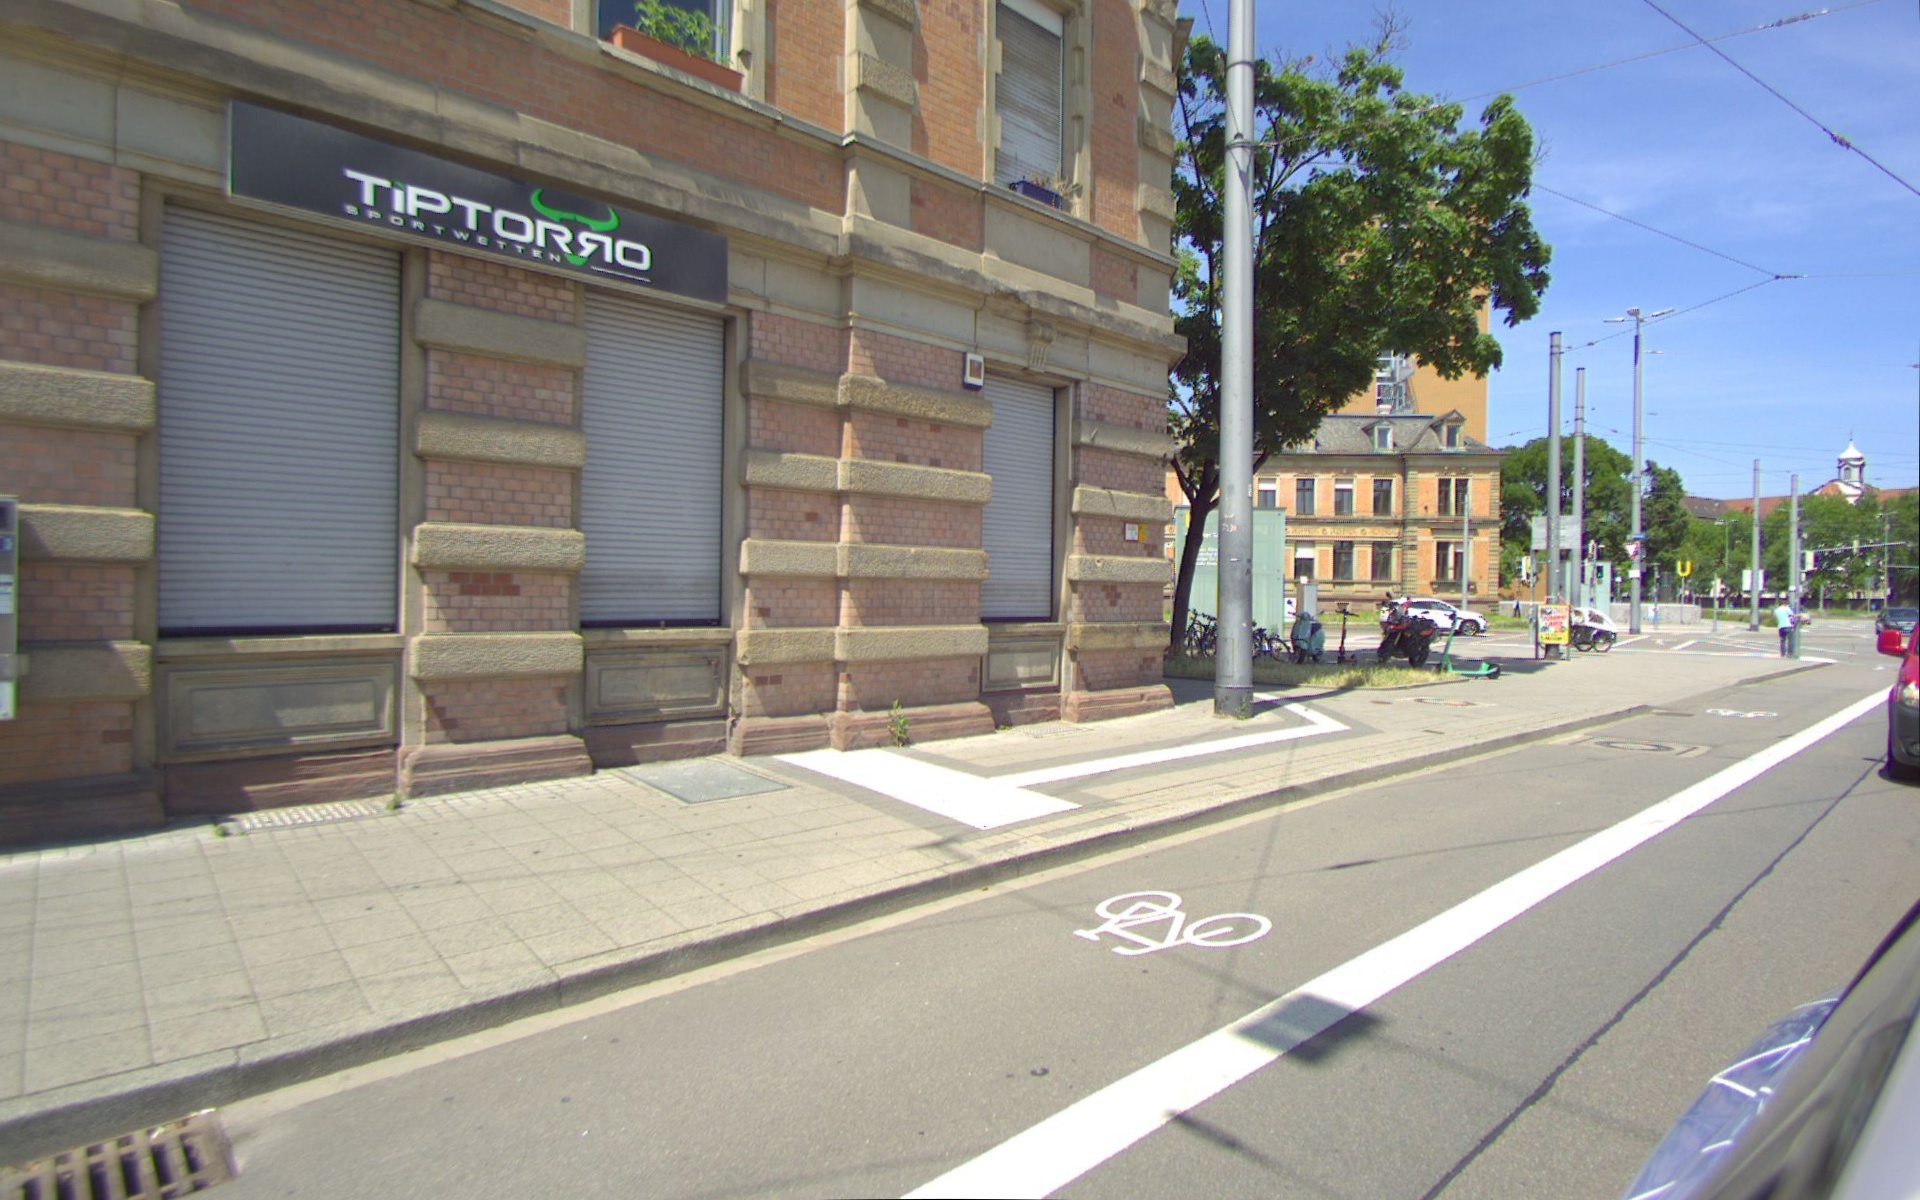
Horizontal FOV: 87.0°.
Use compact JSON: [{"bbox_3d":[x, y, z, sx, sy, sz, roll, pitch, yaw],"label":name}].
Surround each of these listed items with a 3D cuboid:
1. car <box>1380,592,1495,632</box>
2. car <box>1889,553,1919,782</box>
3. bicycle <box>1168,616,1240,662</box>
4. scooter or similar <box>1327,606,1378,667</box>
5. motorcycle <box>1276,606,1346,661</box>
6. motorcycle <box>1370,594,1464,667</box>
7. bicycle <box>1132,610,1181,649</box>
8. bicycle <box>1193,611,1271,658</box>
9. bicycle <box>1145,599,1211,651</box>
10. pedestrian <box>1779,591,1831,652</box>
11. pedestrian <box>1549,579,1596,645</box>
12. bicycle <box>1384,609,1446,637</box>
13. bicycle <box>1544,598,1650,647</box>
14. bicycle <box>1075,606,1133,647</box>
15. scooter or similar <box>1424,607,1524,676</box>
[{"bbox_3d":[20.455,0.501,43.509,4.109,1.625,1.703,1,0,10],"label":"car"},{"bbox_3d":[9.623,0.550,8.892,4.026,1.835,1.754,0,0,-42],"label":"car"},{"bbox_3d":[5.583,0.870,23.089,1.805,0.977,0.647,1,0,-39],"label":"bicycle"},{"bbox_3d":[8.109,0.735,20.891,0.599,1.166,1.361,1,1,38],"label":"scooter or similar"},{"bbox_3d":[7.625,0.700,21.956,1.717,1.110,0.692,0,1,-41],"label":"motorcycle"},{"bbox_3d":[9.315,0.578,20.565,2.551,1.379,0.765,0,1,-42],"label":"motorcycle"},{"bbox_3d":[4.717,0.695,24.271,0.455,0.917,1.406,1,0,44],"label":"bicycle"},{"bbox_3d":[6.069,0.744,22.515,2.046,0.977,0.646,1,0,-42],"label":"bicycle"},{"bbox_3d":[5.141,0.568,23.795,0.645,1.161,1.809,1,0,44],"label":"bicycle"},{"bbox_3d":[25.139,0.635,30.130,0.856,1.802,0.811,1,0,-9],"label":"pedestrian"},{"bbox_3d":[16.901,0.314,27.956,0.810,1.797,0.813,0,0,4],"label":"pedestrian"},{"bbox_3d":[17.111,0.856,38.084,1.990,1.018,0.723,1,0,14],"label":"bicycle"},{"bbox_3d":[17.561,0.604,27.961,2.181,1.266,1.098,1,0,5],"label":"bicycle"},{"bbox_3d":[3.604,0.662,25.372,1.399,1.004,0.458,1,0,-25],"label":"bicycle"},{"bbox_3d":[9.219,0.723,18.207,1.506,1.170,0.710,1,0,20],"label":"scooter or similar"}]
